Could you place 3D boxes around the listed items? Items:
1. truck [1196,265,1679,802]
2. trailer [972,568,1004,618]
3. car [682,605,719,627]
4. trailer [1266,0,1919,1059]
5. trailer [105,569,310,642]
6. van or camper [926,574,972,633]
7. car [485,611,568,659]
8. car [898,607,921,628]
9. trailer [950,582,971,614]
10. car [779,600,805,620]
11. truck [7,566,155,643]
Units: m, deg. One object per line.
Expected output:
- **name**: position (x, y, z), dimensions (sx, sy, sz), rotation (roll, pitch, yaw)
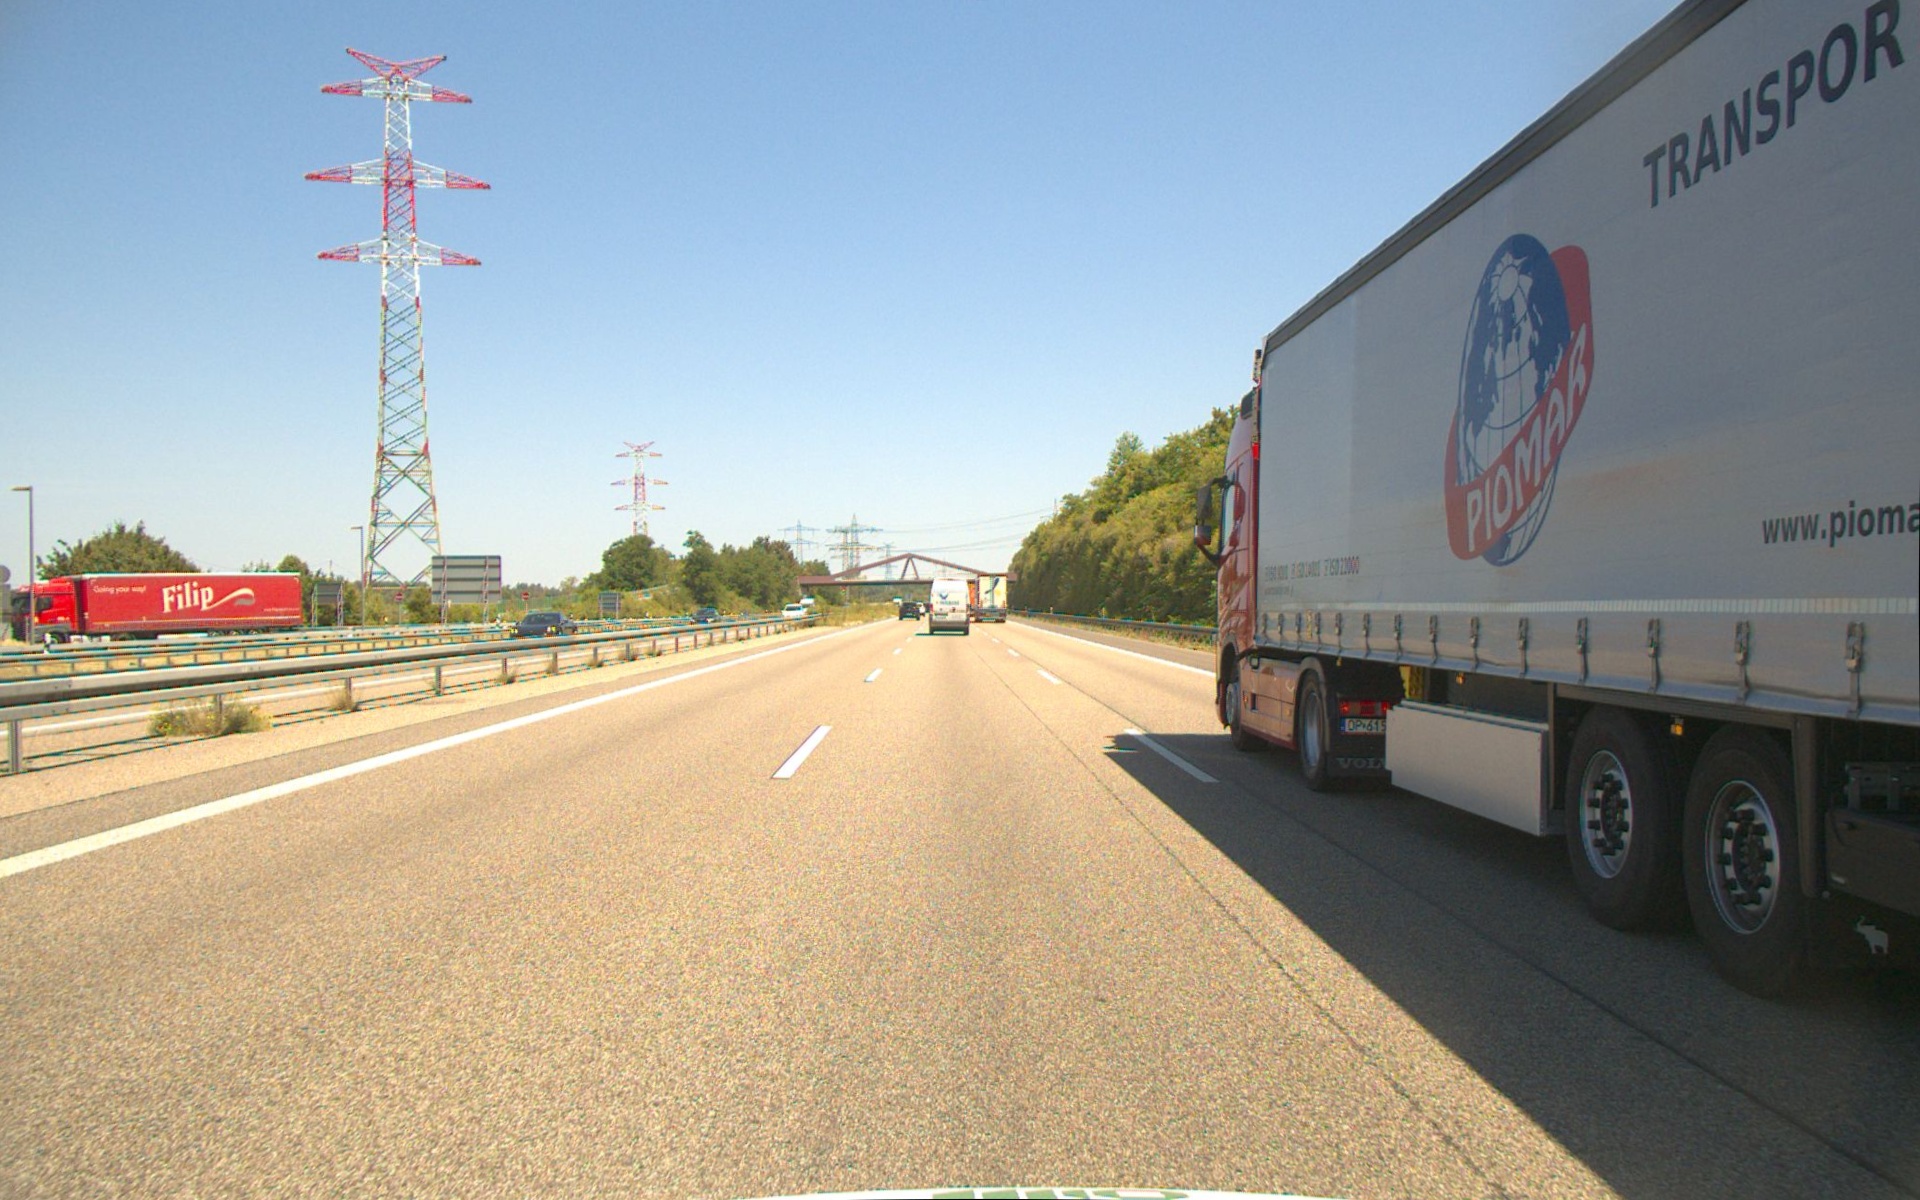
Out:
- **truck**: position (4.073, -0.488, 15.870), dimensions (2.448, 3.988, 7.095), rotation (0, 0, -1)
- **trailer**: position (2.395, -0.606, 145.247), dimensions (2.583, 4.131, 12.365), rotation (1, 0, 0)
- **car**: position (-18.019, 1.099, 115.085), dimensions (1.831, 1.422, 4.545), rotation (-3, 0, -1)
- **trailer**: position (4.195, -0.531, 8.193), dimensions (2.440, 3.978, 14.242), rotation (0, 0, -1)
- **trailer**: position (-44.825, 0.365, 99.097), dimensions (3.065, 4.126, 11.281), rotation (1, 0, 33)
- **van or camper**: position (-0.583, 0.159, 83.338), dimensions (2.185, 2.831, 5.422), rotation (1, 0, -1)
- **car**: position (-16.474, 1.293, 63.106), dimensions (1.932, 1.675, 5.015), rotation (1, 0, -1)
- **car**: position (-4.798, 1.657, 157.240), dimensions (1.941, 1.849, 3.813), rotation (1, 0, 1)
- **trailer**: position (0.084, -0.205, 209.868), dimensions (2.583, 3.965, 7.068), rotation (1, 0, 0)
- **car**: position (-13.685, 0.816, 134.910), dimensions (1.683, 1.556, 4.665), rotation (-3, 0, -1)
- **truck**: position (-49.069, 0.260, 92.502), dimensions (3.062, 4.120, 6.626), rotation (1, 0, 33)
